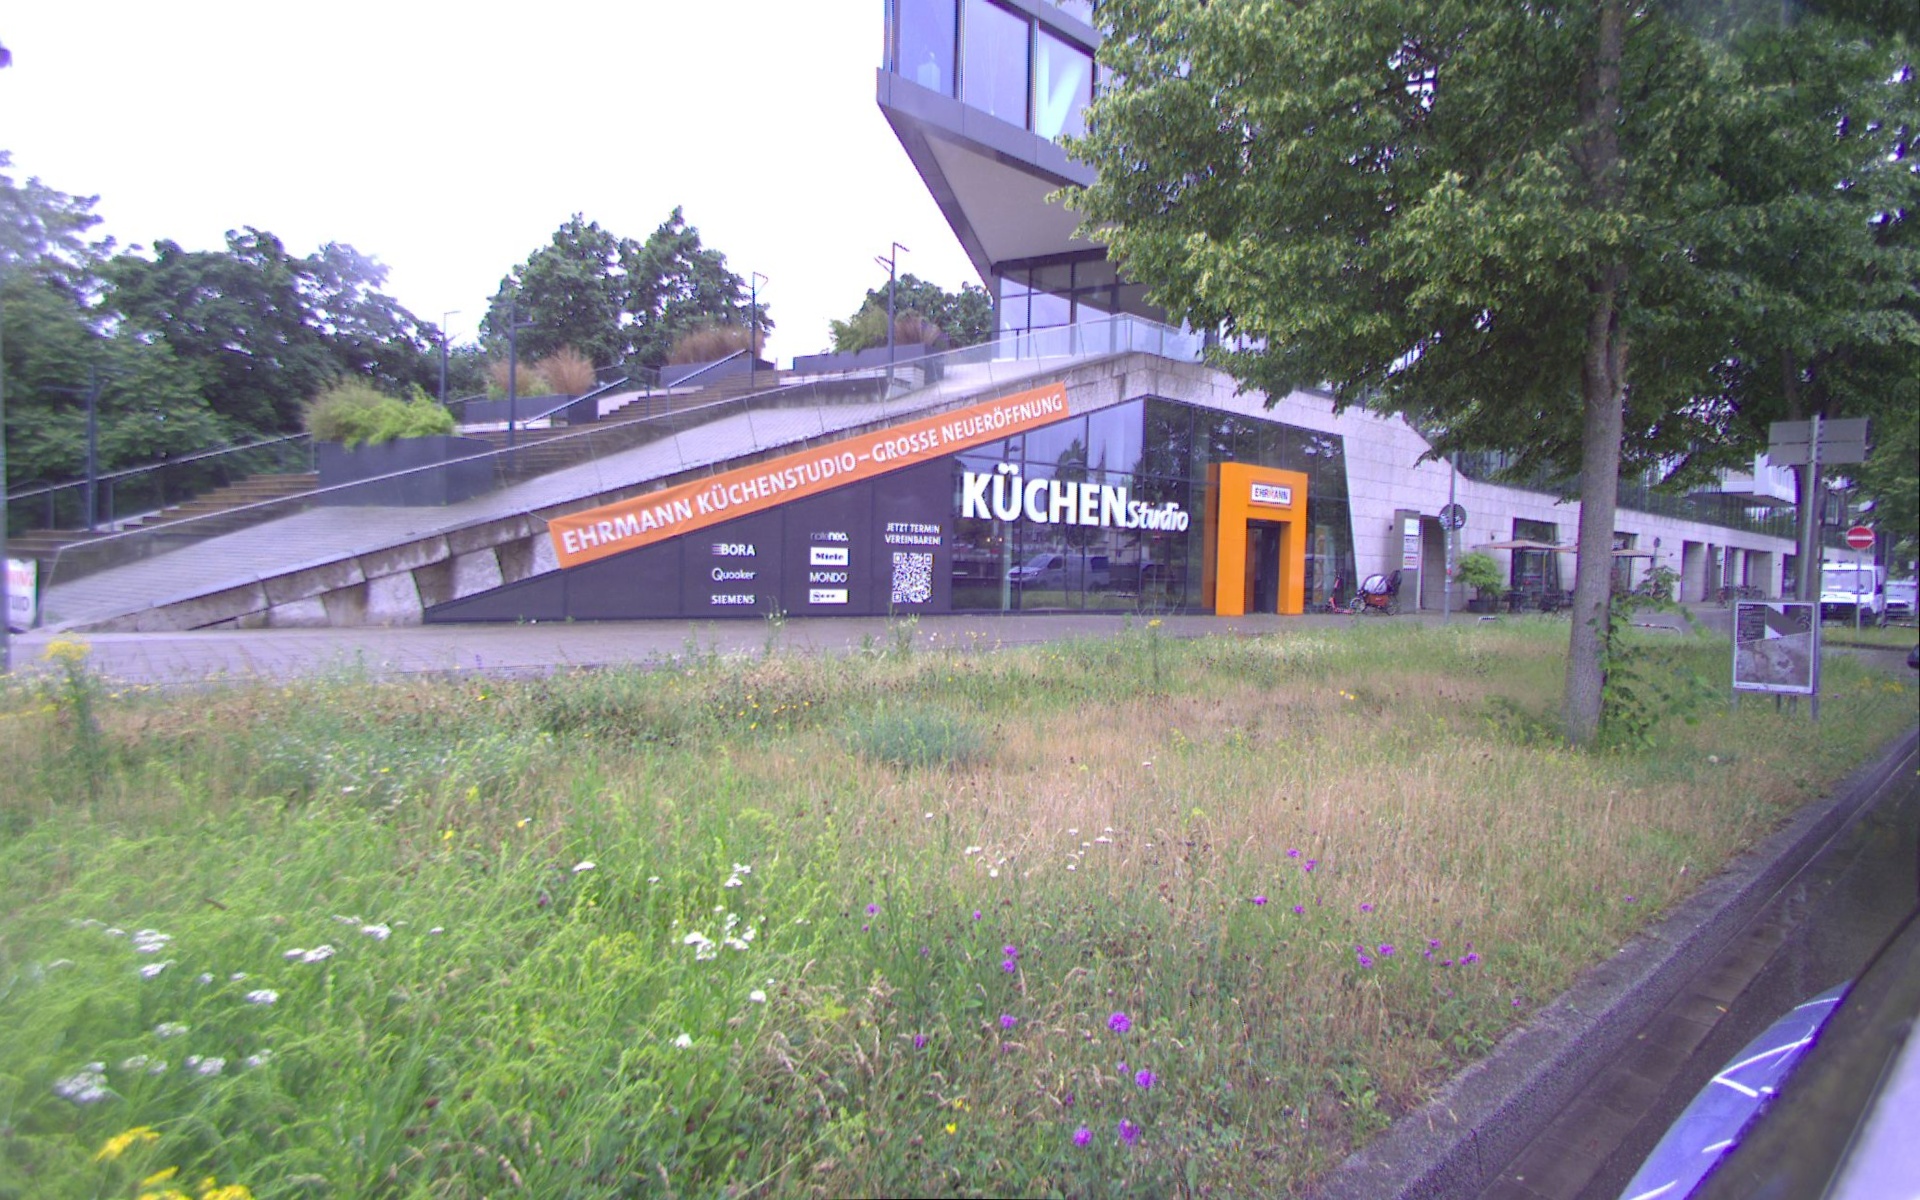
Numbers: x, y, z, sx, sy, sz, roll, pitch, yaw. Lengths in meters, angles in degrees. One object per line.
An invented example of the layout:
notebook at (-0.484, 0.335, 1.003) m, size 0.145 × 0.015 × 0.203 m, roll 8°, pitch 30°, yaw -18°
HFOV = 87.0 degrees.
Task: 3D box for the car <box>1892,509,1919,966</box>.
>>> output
car at (5.913, 0.570, 4.665) m, size 4.306 × 1.769 × 1.915 m, roll 1°, pitch -1°, yaw -41°

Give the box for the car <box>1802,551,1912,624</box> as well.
car at (29.758, -0.413, 33.530) m, size 5.008 × 2.229 × 2.083 m, roll -1°, pitch 0°, yaw -41°

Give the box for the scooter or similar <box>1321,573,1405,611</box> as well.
scooter or similar at (12.331, -0.255, 30.954) m, size 2.560 × 1.113 × 0.814 m, roll 0°, pitch 0°, yaw -23°

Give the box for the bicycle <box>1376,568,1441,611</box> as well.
bicycle at (14.511, -0.342, 32.738) m, size 2.650 × 1.364 × 0.882 m, roll -1°, pitch 0°, yaw -41°
